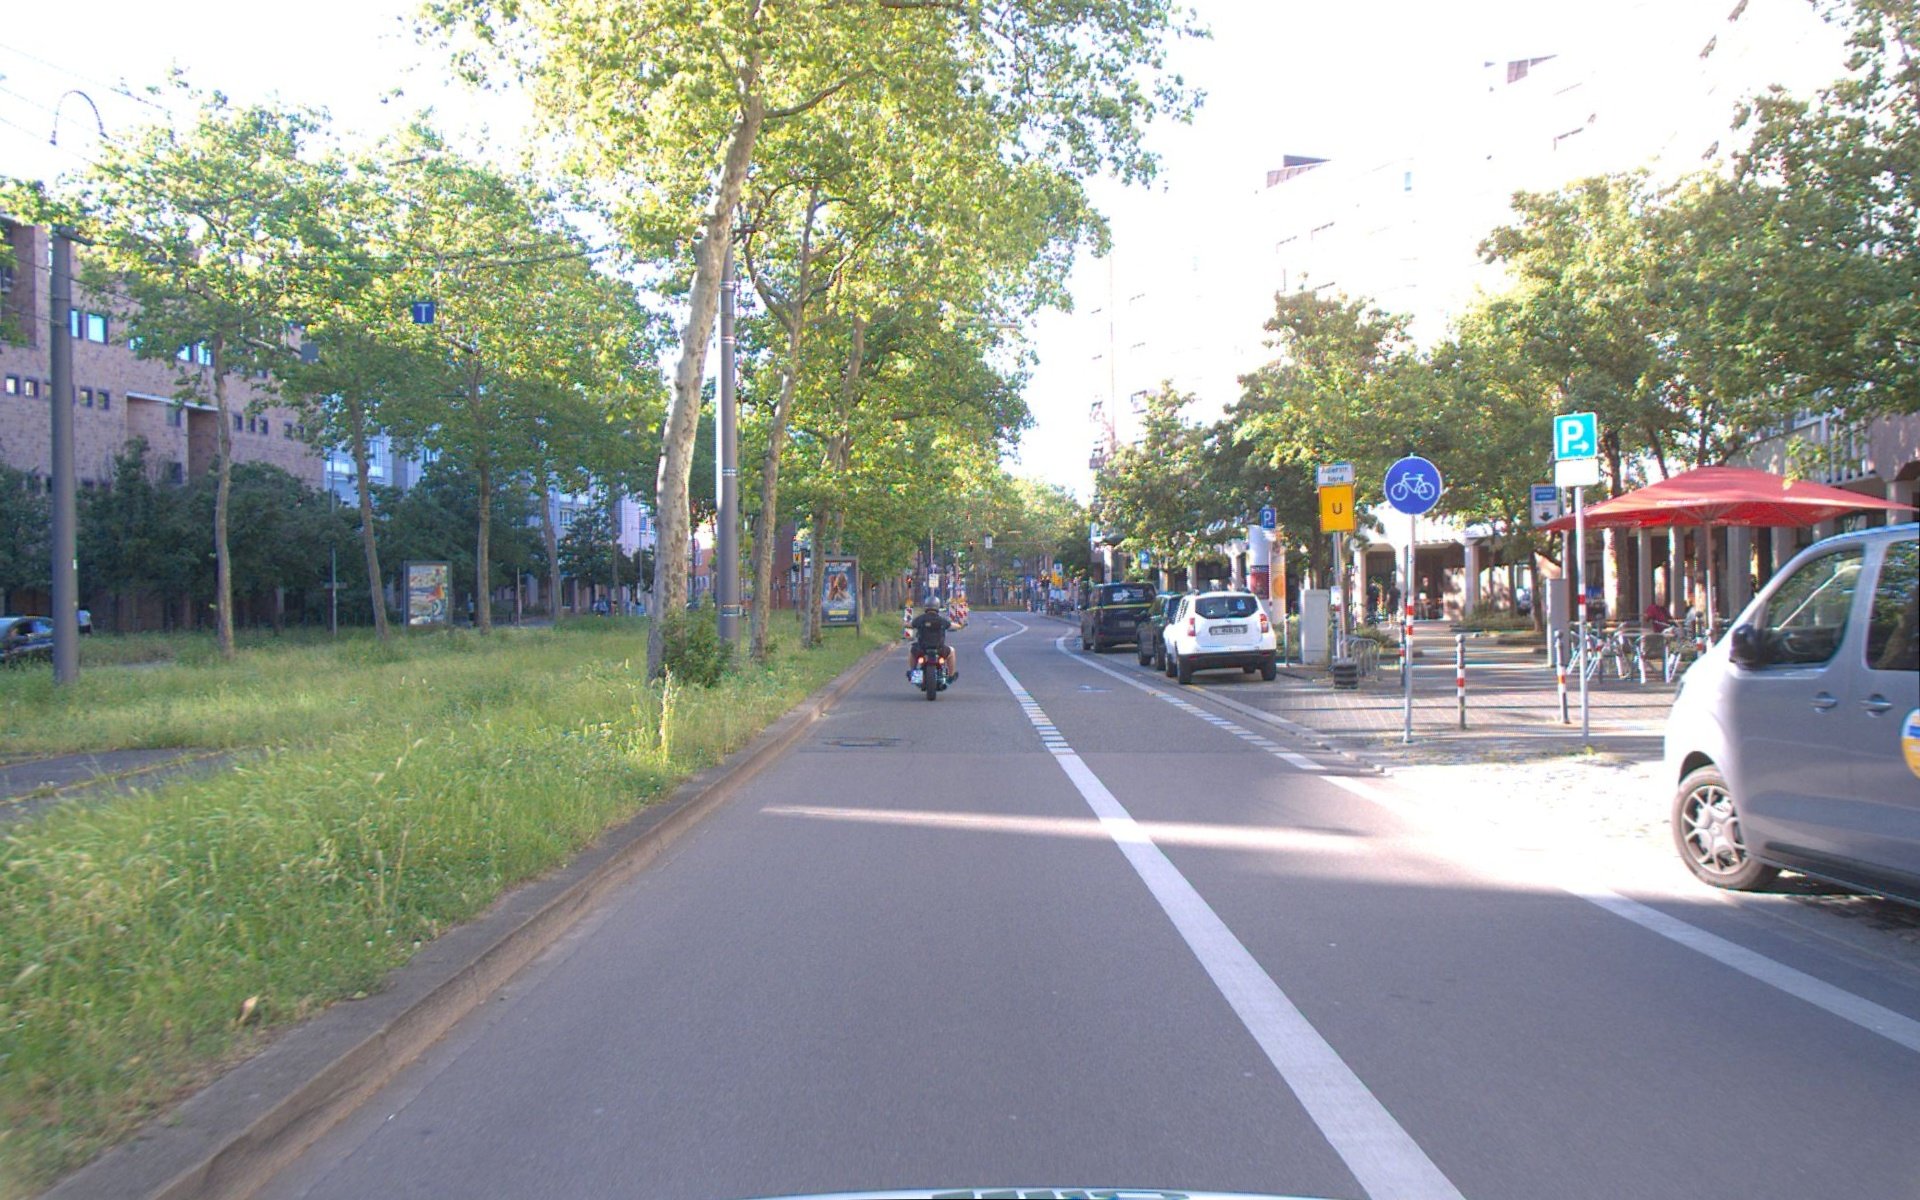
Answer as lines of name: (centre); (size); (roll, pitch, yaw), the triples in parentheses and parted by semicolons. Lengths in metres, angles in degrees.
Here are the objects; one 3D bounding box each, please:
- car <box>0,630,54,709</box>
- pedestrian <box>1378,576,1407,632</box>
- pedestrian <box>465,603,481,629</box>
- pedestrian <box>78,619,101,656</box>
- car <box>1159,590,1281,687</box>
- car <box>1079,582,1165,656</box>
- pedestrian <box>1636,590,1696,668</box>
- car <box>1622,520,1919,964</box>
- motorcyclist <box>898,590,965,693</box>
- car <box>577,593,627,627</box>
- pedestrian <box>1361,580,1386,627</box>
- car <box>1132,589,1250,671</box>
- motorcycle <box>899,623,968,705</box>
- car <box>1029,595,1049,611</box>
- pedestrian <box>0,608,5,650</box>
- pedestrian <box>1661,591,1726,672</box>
car: (-18.517, 1.323, 30.586); (1.561, 1.423, 3.732); (-1, 0, -2)
pedestrian: (15.962, 0.144, 61.082); (0.848, 2.049, 0.882); (-1, 0, 2)
pedestrian: (-29.256, 0.966, 99.422); (0.616, 1.547, 0.680); (-1, 0, 15)
pedestrian: (-31.170, 1.341, 59.216); (0.491, 1.313, 0.522); (-1, 0, 5)
car: (4.832, 0.674, 31.202); (1.820, 1.666, 3.869); (-2, 0, 3)
car: (4.715, 0.521, 48.704); (1.989, 2.011, 4.414); (-2, 0, -1)
pedestrian: (14.550, 0.580, 34.124); (0.852, 1.573, 0.994); (-1, 0, 6)
car: (4.947, 0.543, 7.393); (1.883, 1.875, 4.924); (-4, 0, 0)
motorcyclist: (-0.471, 0.646, 26.589); (1.002, 1.579, 1.286); (-1, 1, -3)
car: (-19.419, 0.523, 89.902); (1.862, 1.716, 3.999); (-1, 0, -1)
pedestrian: (17.264, 0.153, 69.095); (0.849, 1.916, 1.059); (-1, 0, 5)
car: (5.100, 0.644, 36.989); (1.947, 1.657, 4.084); (-2, 0, -1)
motorcycle: (-0.449, 0.995, 26.580); (0.986, 1.145, 2.322); (-1, 1, -3)
car: (8.605, 0.304, 179.694); (1.951, 1.735, 4.003); (-1, 0, 6)
pedestrian: (-30.472, 0.918, 52.059); (0.491, 1.313, 0.522); (-1, 0, 5)
pedestrian: (14.531, 0.612, 32.791); (0.852, 1.573, 0.994); (-1, 0, 2)
